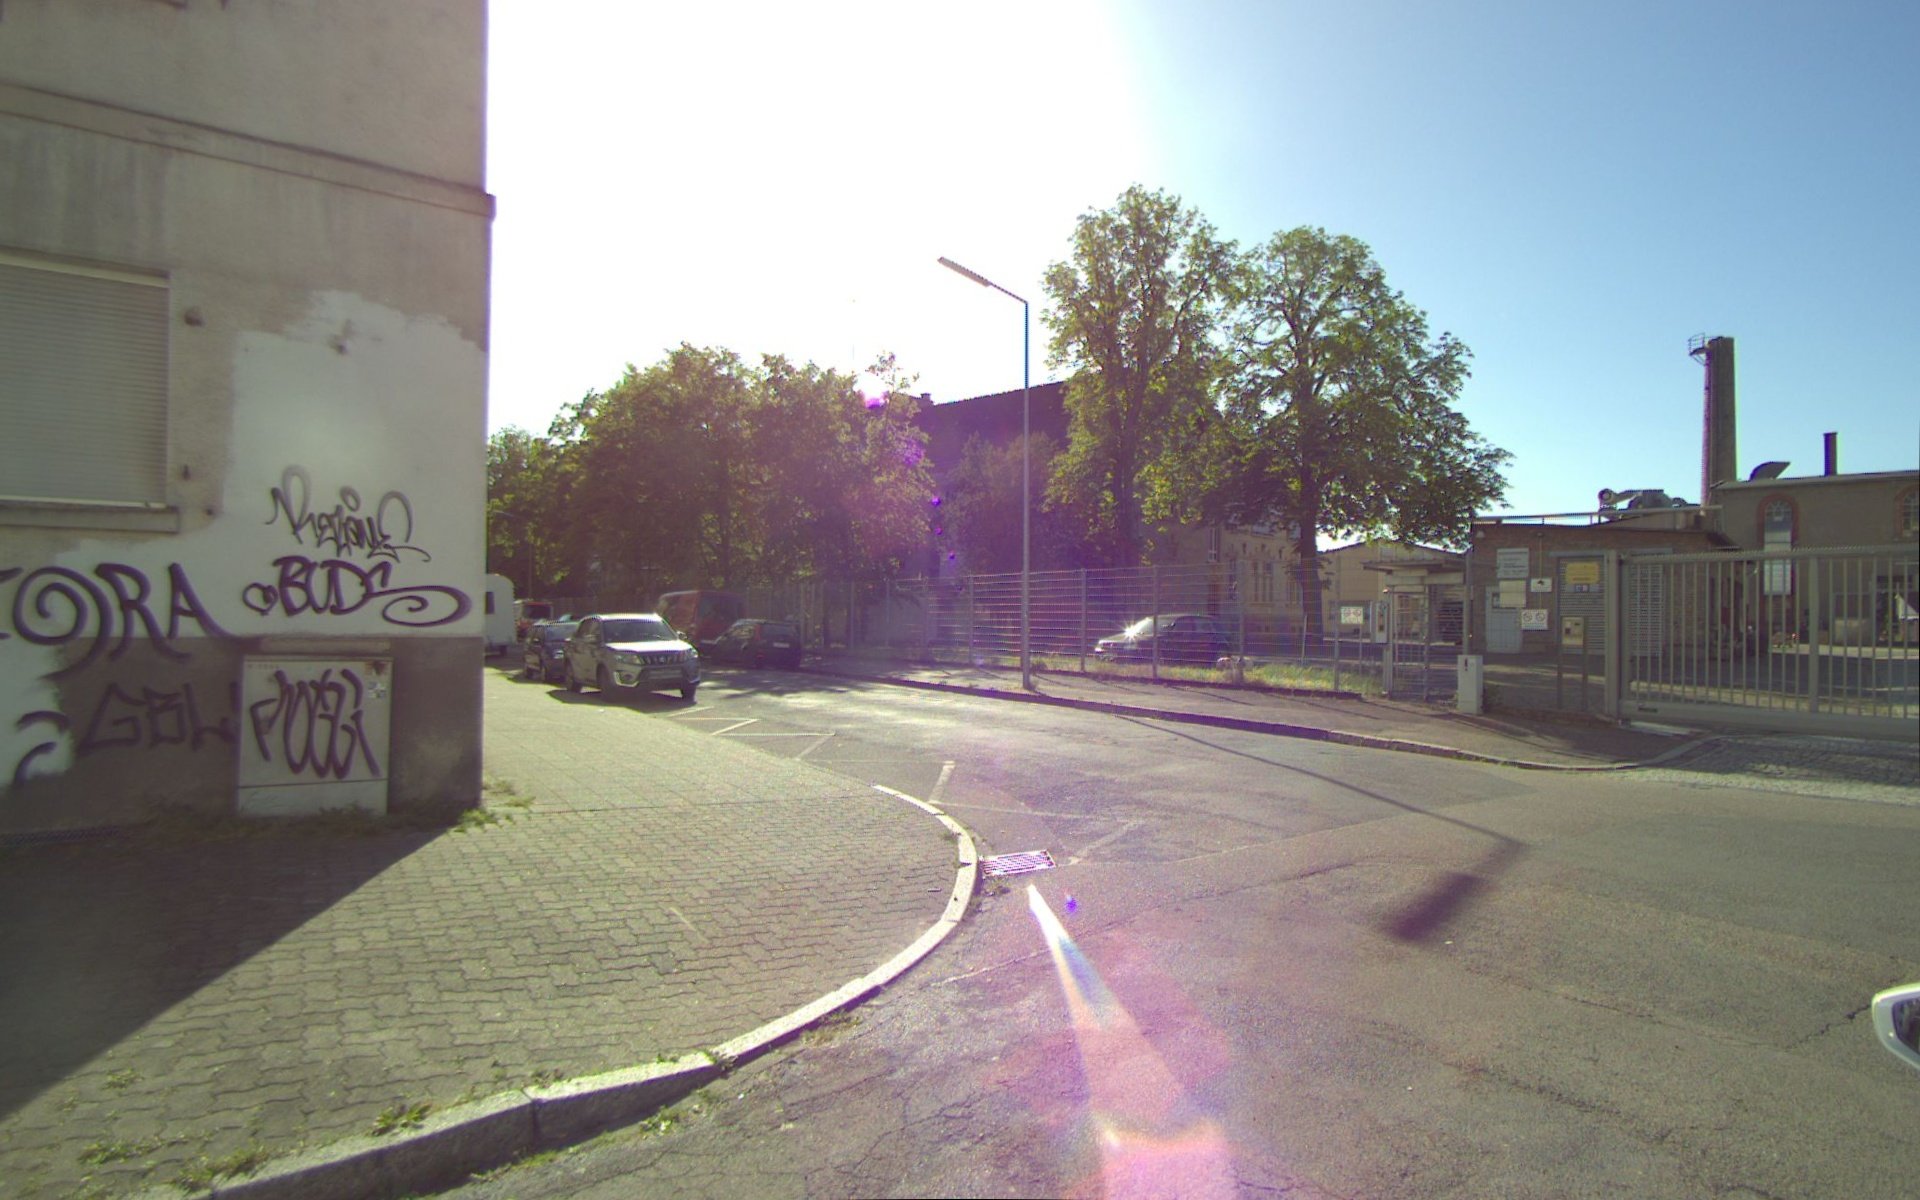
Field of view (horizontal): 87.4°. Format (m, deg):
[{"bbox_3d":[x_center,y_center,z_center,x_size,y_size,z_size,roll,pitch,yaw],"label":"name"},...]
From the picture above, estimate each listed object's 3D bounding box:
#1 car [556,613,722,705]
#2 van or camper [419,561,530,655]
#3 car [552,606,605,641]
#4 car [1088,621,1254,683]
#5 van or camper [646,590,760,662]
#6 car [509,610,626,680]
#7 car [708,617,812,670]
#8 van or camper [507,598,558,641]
[{"bbox_3d":[-6.365,1.055,19.647,2.050,1.573,3.961,1,-1,-35],"label":"car"},{"bbox_3d":[-18.533,0.380,38.132,2.929,3.221,6.116,3,-2,-33],"label":"van or camper"},{"bbox_3d":[-19.286,1.164,50.718,1.636,1.706,3.961,1,-1,-35],"label":"car"},{"bbox_3d":[5.397,1.291,25.543,3.960,1.439,1.981,2,-1,-35],"label":"car"},{"bbox_3d":[-9.064,0.877,35.095,2.191,2.311,5.259,1,-1,-35],"label":"van or camper"},{"bbox_3d":[-9.804,1.047,24.956,1.859,1.573,3.961,1,-1,-35],"label":"car"},{"bbox_3d":[-6.070,1.245,30.159,1.636,1.435,3.961,1,-1,-35],"label":"car"},{"bbox_3d":[-26.063,1.165,61.206,2.106,2.532,3.961,1,-1,-35],"label":"van or camper"}]
